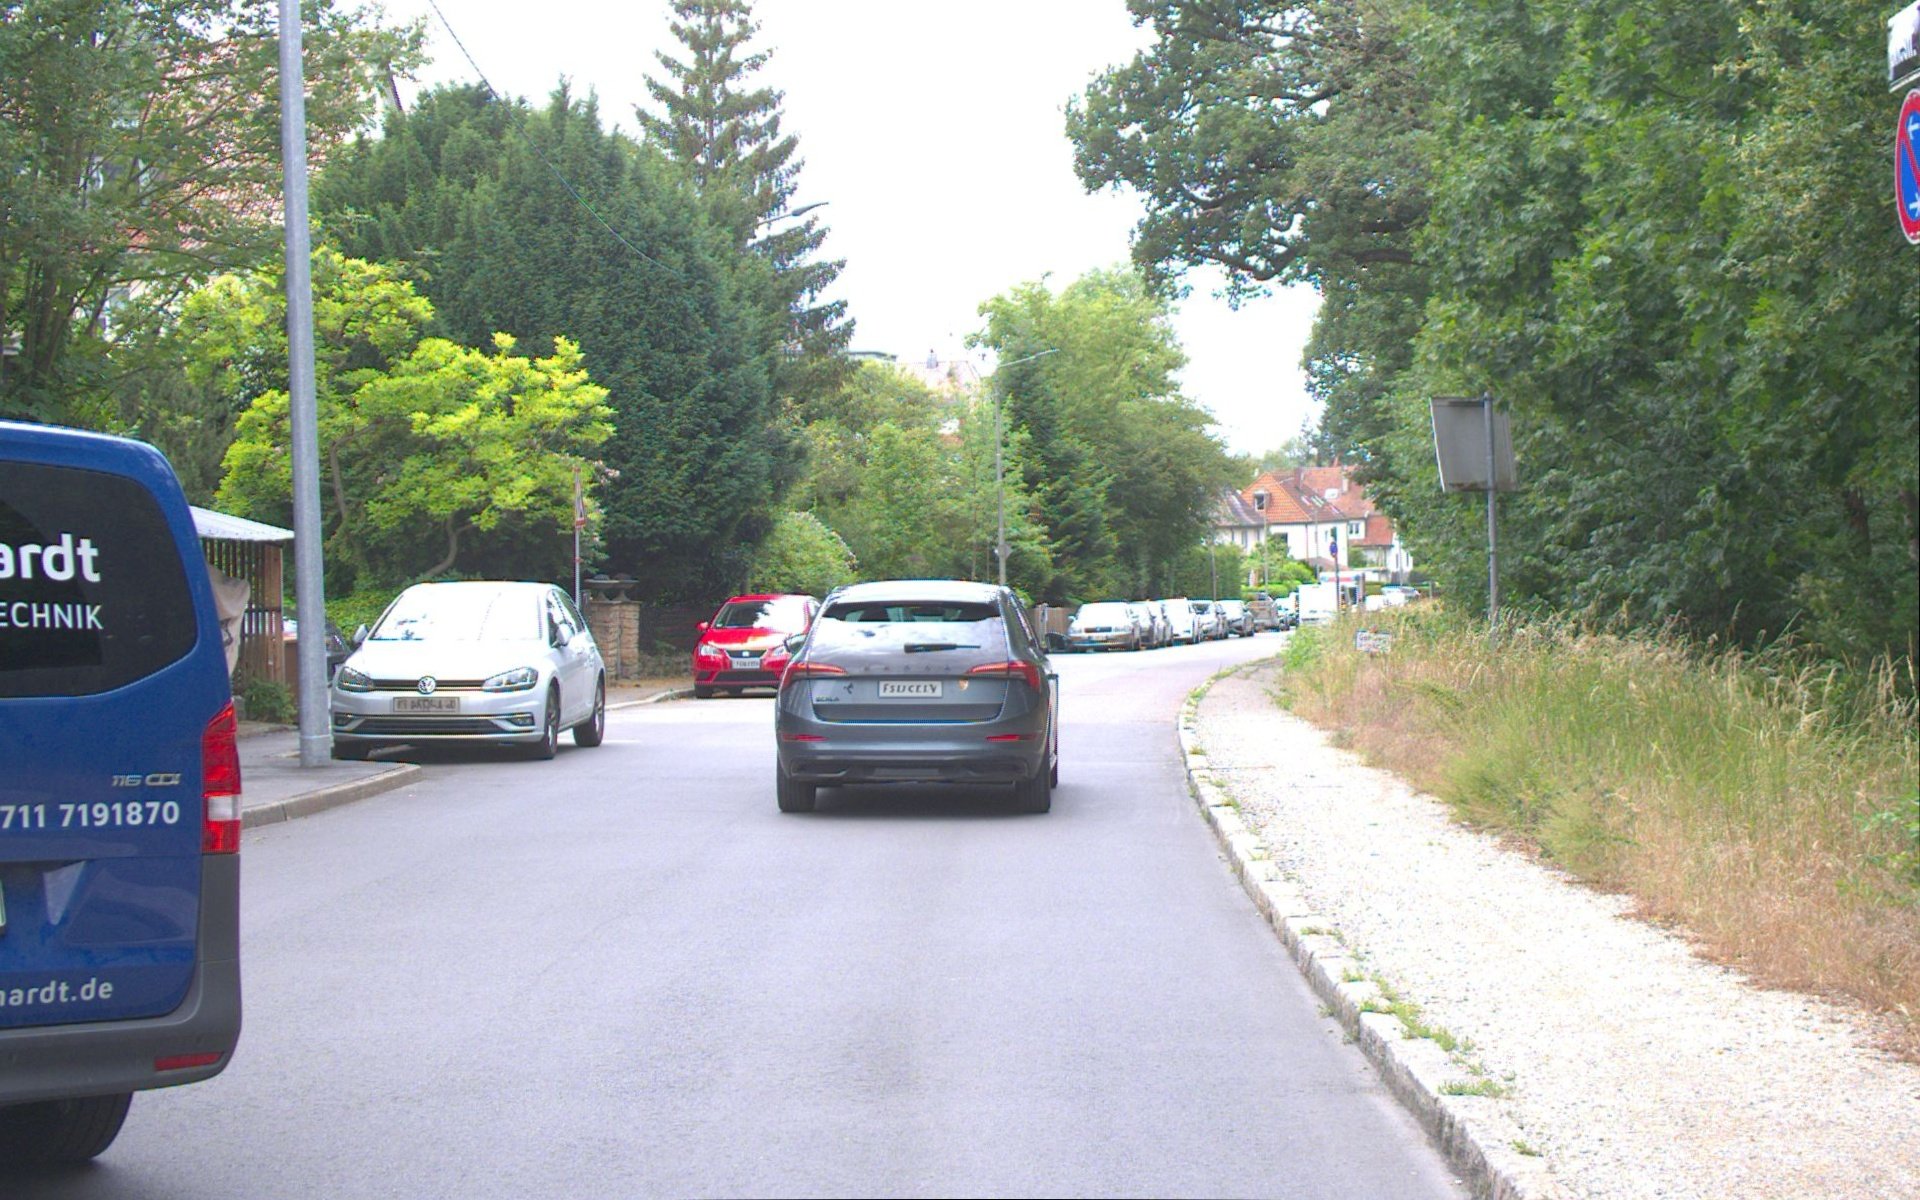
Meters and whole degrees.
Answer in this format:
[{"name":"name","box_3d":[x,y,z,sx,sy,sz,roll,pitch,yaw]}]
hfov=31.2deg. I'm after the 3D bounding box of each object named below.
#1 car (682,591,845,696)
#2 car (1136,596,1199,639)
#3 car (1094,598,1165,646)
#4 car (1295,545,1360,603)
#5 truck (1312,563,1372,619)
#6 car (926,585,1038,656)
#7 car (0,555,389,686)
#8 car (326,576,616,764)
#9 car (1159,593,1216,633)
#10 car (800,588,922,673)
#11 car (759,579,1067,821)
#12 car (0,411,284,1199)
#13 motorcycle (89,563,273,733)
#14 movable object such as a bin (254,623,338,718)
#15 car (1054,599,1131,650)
[{"name":"car","box_3d":[-2.713,0.580,48.370,1.636,1.400,3.999,0,0,6]},{"name":"car","box_3d":[7.008,0.573,115.785,1.749,1.400,3.999,0,0,8]},{"name":"car","box_3d":[5.096,0.645,102.962,1.749,1.400,3.999,0,0,8]},{"name":"car","box_3d":[13.540,-0.960,126.432,2.206,2.056,6.133,0,1,7]},{"name":"truck","box_3d":[19.974,-0.504,179.245,2.764,2.784,9.265,0,1,8]},{"name":"car","box_3d":[0.479,0.399,70.148,1.749,1.400,3.999,0,0,8]},{"name":"car","box_3d":[-8.965,0.216,39.235,4.482,1.436,1.878,0,0,6]},{"name":"car","box_3d":[-4.054,0.543,29.075,1.706,1.463,4.075,0,0,2]},{"name":"car","box_3d":[8.324,0.459,125.612,1.749,1.400,3.999,0,0,8]},{"name":"car","box_3d":[-1.663,0.504,59.052,1.749,1.400,3.999,0,0,3]},{"name":"car","box_3d":[-0.221,0.591,22.728,1.735,1.442,4.180,0,0,3]},{"name":"car","box_3d":[-3.710,0.500,9.063,1.937,1.873,4.529,-1,1,-38]},{"name":"motorcycle","box_3d":[-7.078,0.414,31.413,0.810,1.480,2.895,0,0,5]},{"name":"movable object such as a bin","box_3d":[-6.463,0.683,33.480,0.591,0.906,0.700,0,0,9]},{"name":"car","box_3d":[3.750,0.682,96.865,1.749,1.400,3.999,0,0,8]}]
